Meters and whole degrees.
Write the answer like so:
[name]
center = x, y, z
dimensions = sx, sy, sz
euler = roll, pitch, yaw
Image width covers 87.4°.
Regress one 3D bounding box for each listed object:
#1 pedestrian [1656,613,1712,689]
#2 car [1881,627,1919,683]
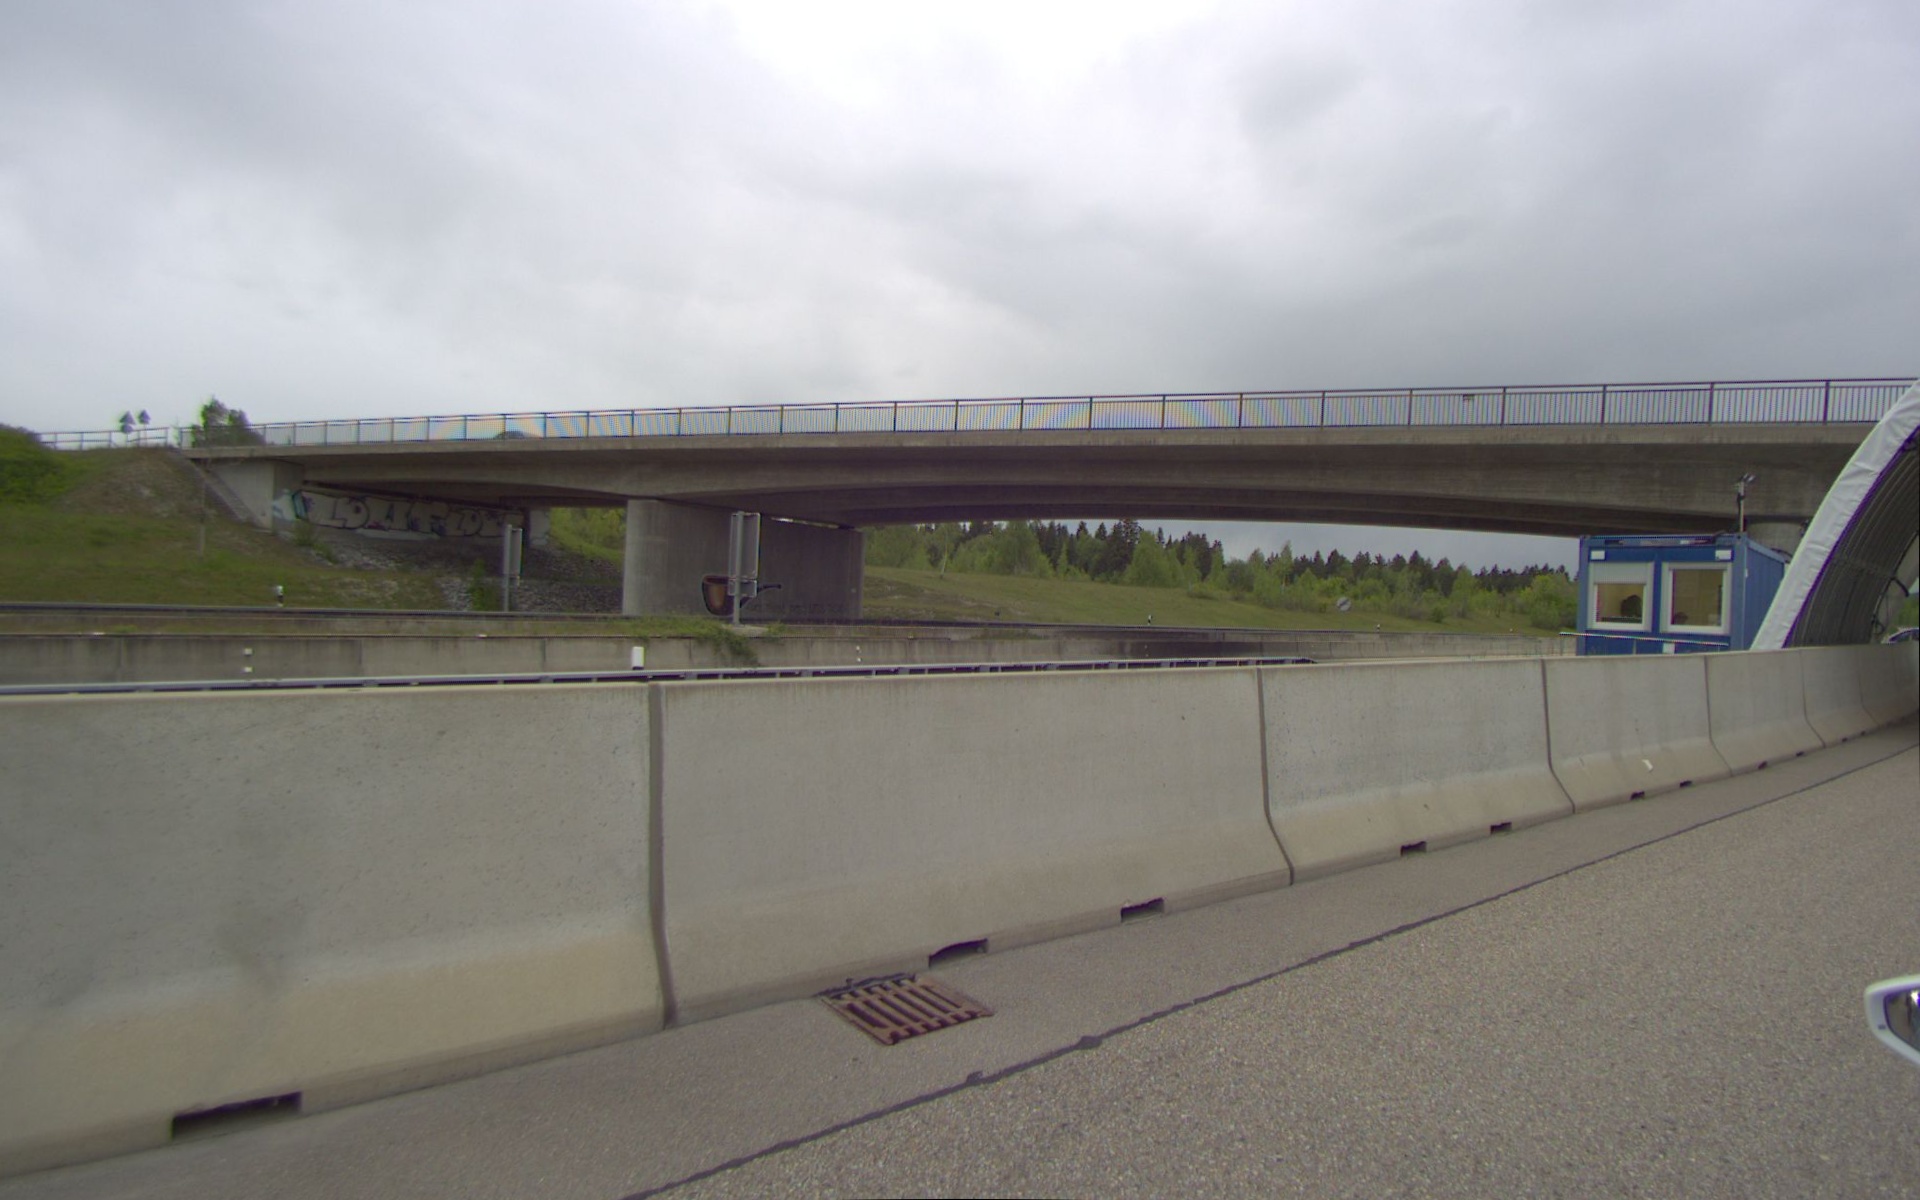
[pedestrian]
center = 13.623, 0.955, 18.905
dimensions = 0.618, 1.391, 0.609
euler = 2, -1, -21
[car]
center = 36.723, 2.053, 36.263
dimensions = 1.814, 2.040, 4.797
euler = 2, -1, -22
